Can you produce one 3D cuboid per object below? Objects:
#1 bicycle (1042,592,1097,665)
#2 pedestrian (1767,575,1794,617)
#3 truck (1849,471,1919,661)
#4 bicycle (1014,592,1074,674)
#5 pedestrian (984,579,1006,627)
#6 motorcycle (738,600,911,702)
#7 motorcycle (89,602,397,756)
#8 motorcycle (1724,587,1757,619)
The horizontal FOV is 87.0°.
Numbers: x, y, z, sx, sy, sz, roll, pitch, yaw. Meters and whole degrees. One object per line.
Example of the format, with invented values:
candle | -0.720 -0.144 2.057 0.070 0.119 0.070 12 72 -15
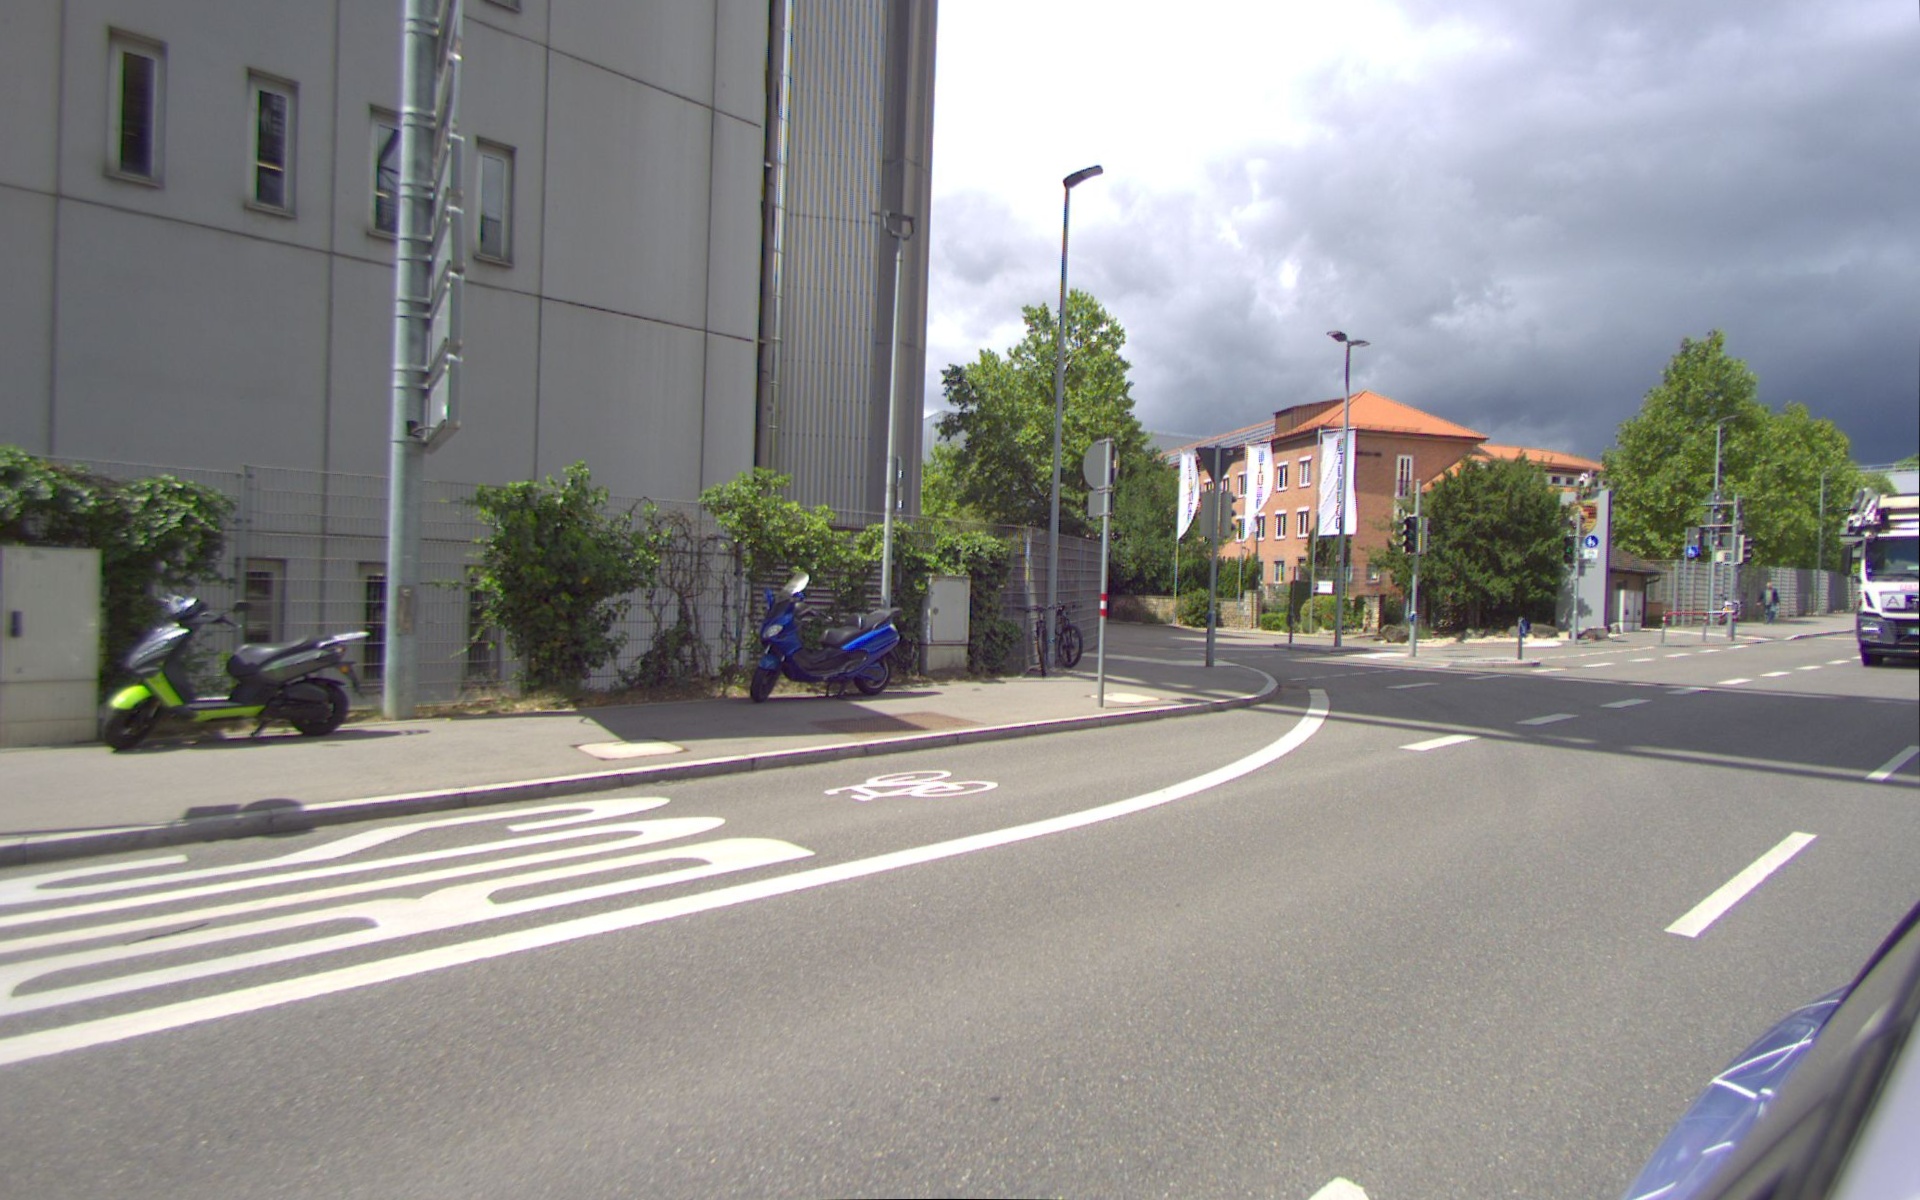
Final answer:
bicycle | 1.878 0.461 17.572 0.535 1.142 1.889 2 1 -6
pedestrian | 35.439 -0.199 43.710 0.998 1.788 0.729 0 0 -40
truck | 24.064 -0.768 24.147 10.550 3.934 2.712 -1 1 -40
bicycle | 1.286 0.476 15.776 0.535 1.142 1.973 2 1 -6
pedestrian | 1.309 0.105 37.857 0.624 1.802 0.747 0 0 -12
motorcycle | -1.570 0.557 11.949 2.001 1.080 0.592 0 3 -41
motorcycle | -5.778 0.578 8.255 2.001 1.080 0.592 0 3 -41
motorcycle | 31.273 0.114 40.536 2.137 1.241 0.570 -1 3 -40
